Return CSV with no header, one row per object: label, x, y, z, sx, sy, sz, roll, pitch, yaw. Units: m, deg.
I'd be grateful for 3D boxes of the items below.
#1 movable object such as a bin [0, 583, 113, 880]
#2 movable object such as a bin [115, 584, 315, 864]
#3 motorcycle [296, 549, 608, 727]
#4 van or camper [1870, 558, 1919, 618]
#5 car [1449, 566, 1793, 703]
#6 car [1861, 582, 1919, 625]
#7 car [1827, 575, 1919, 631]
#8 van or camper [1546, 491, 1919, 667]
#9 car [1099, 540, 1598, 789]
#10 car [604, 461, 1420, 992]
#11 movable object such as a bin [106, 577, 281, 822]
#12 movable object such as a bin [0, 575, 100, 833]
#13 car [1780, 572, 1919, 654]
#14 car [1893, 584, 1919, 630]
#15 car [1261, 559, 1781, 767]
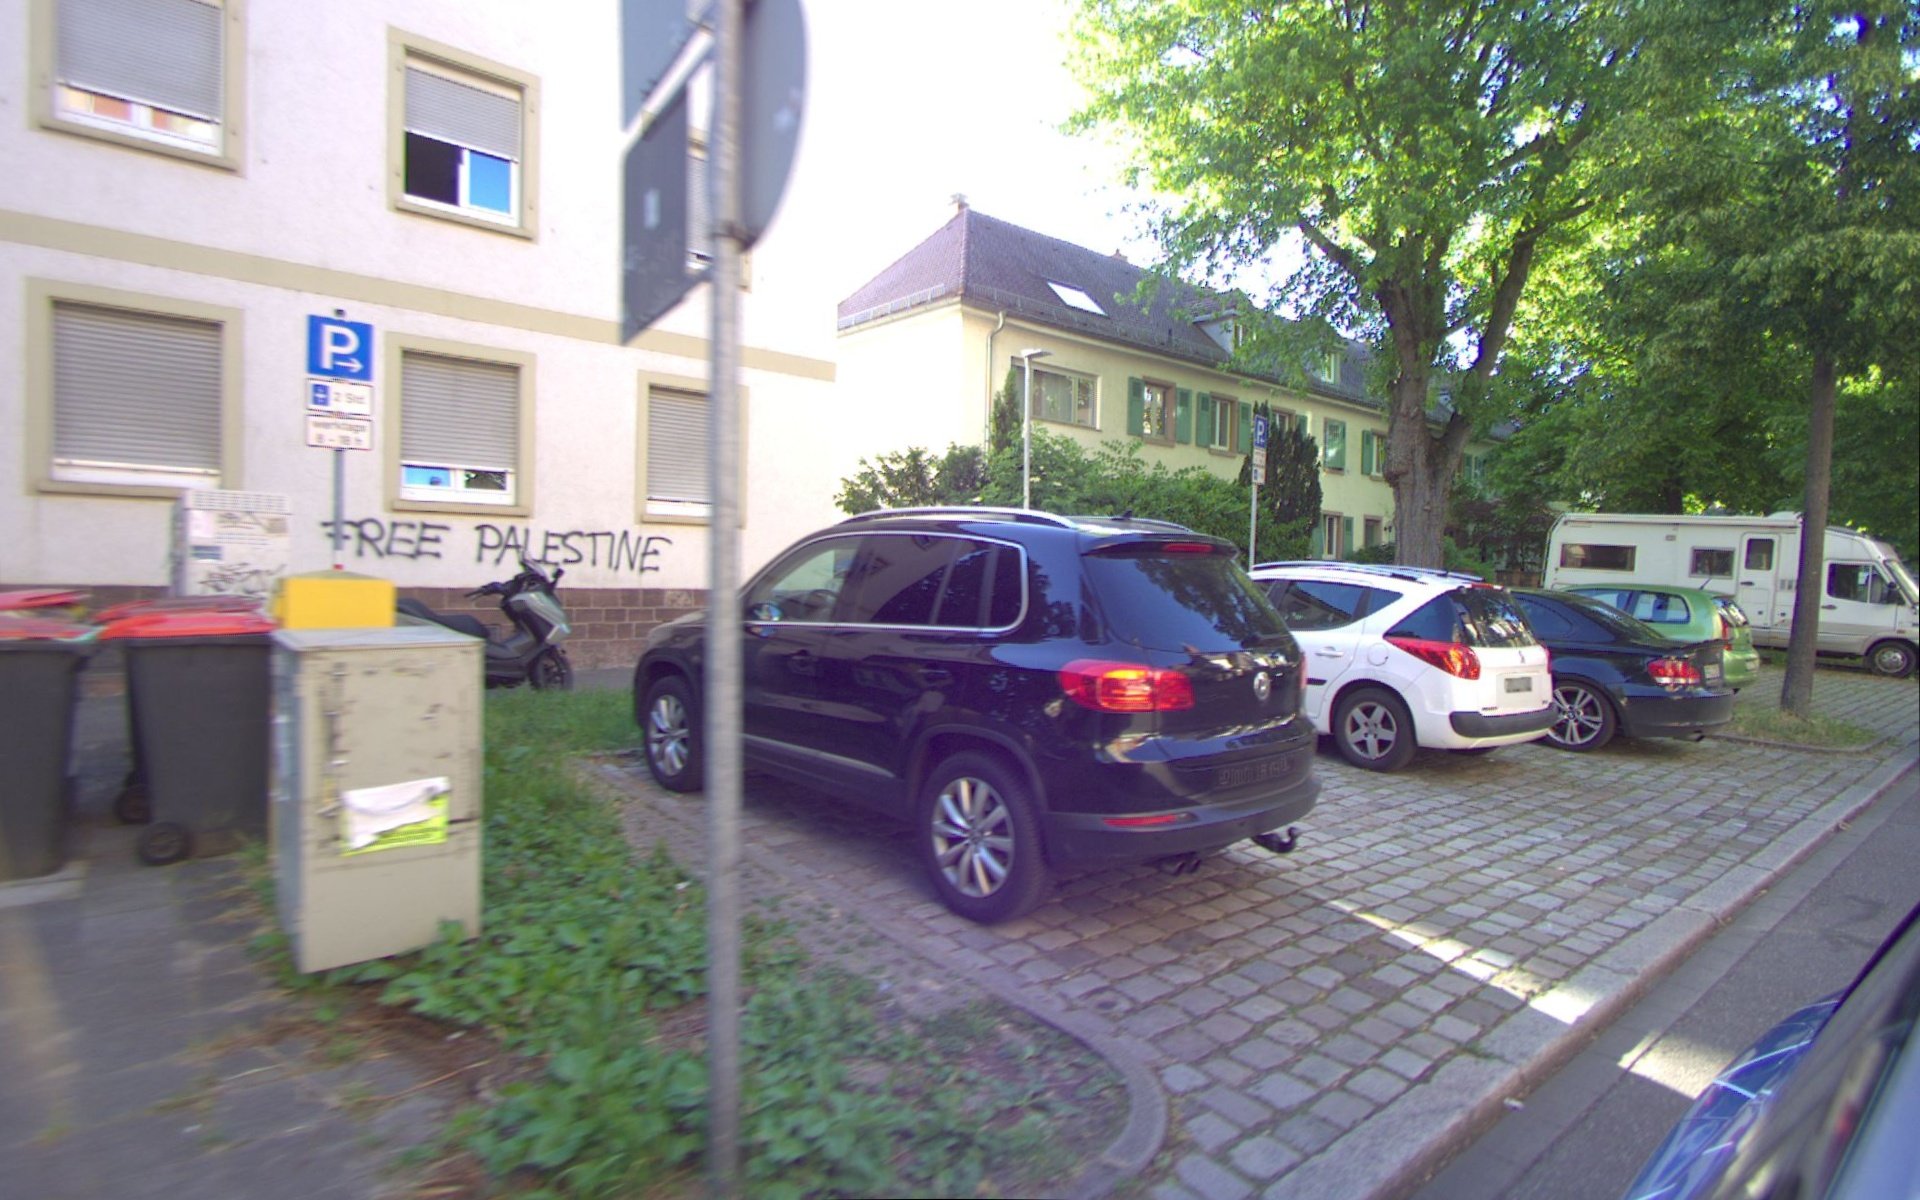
movable object such as a bin,-4.066,0.521,4.306,0.689,1.167,0.739,0,1,-40
movable object such as a bin,-3.513,0.518,4.771,0.703,1.167,0.739,0,1,-40
motorcycle,-4.222,0.257,8.561,0.974,1.296,2.150,3,2,41
van or camper,49.615,-0.535,49.503,2.385,2.939,7.264,-1,3,-40
car,8.946,0.371,13.928,1.647,1.524,3.598,1,2,-39
car,36.754,0.230,37.690,1.721,1.495,4.471,0,4,-39
car,30.238,0.121,31.747,1.895,1.627,4.342,-1,4,-41
van or camper,16.252,-0.472,20.542,2.423,3.115,7.087,0,2,-42
car,3.117,0.366,8.767,1.672,1.671,3.705,0,2,-36
car,-0.036,0.309,5.472,1.991,1.734,4.110,1,2,-44
movable object such as a bin,-4.064,0.471,5.368,0.689,1.167,0.739,0,1,-40
movable object such as a bin,-4.571,0.468,4.829,0.689,1.167,0.633,0,1,-40
car,22.509,0.318,24.385,1.699,1.765,3.925,-1,5,-40
car,32.770,0.308,32.827,1.664,1.493,3.456,0,3,-40
car,5.312,0.427,10.070,1.760,1.428,4.116,0,5,-40
